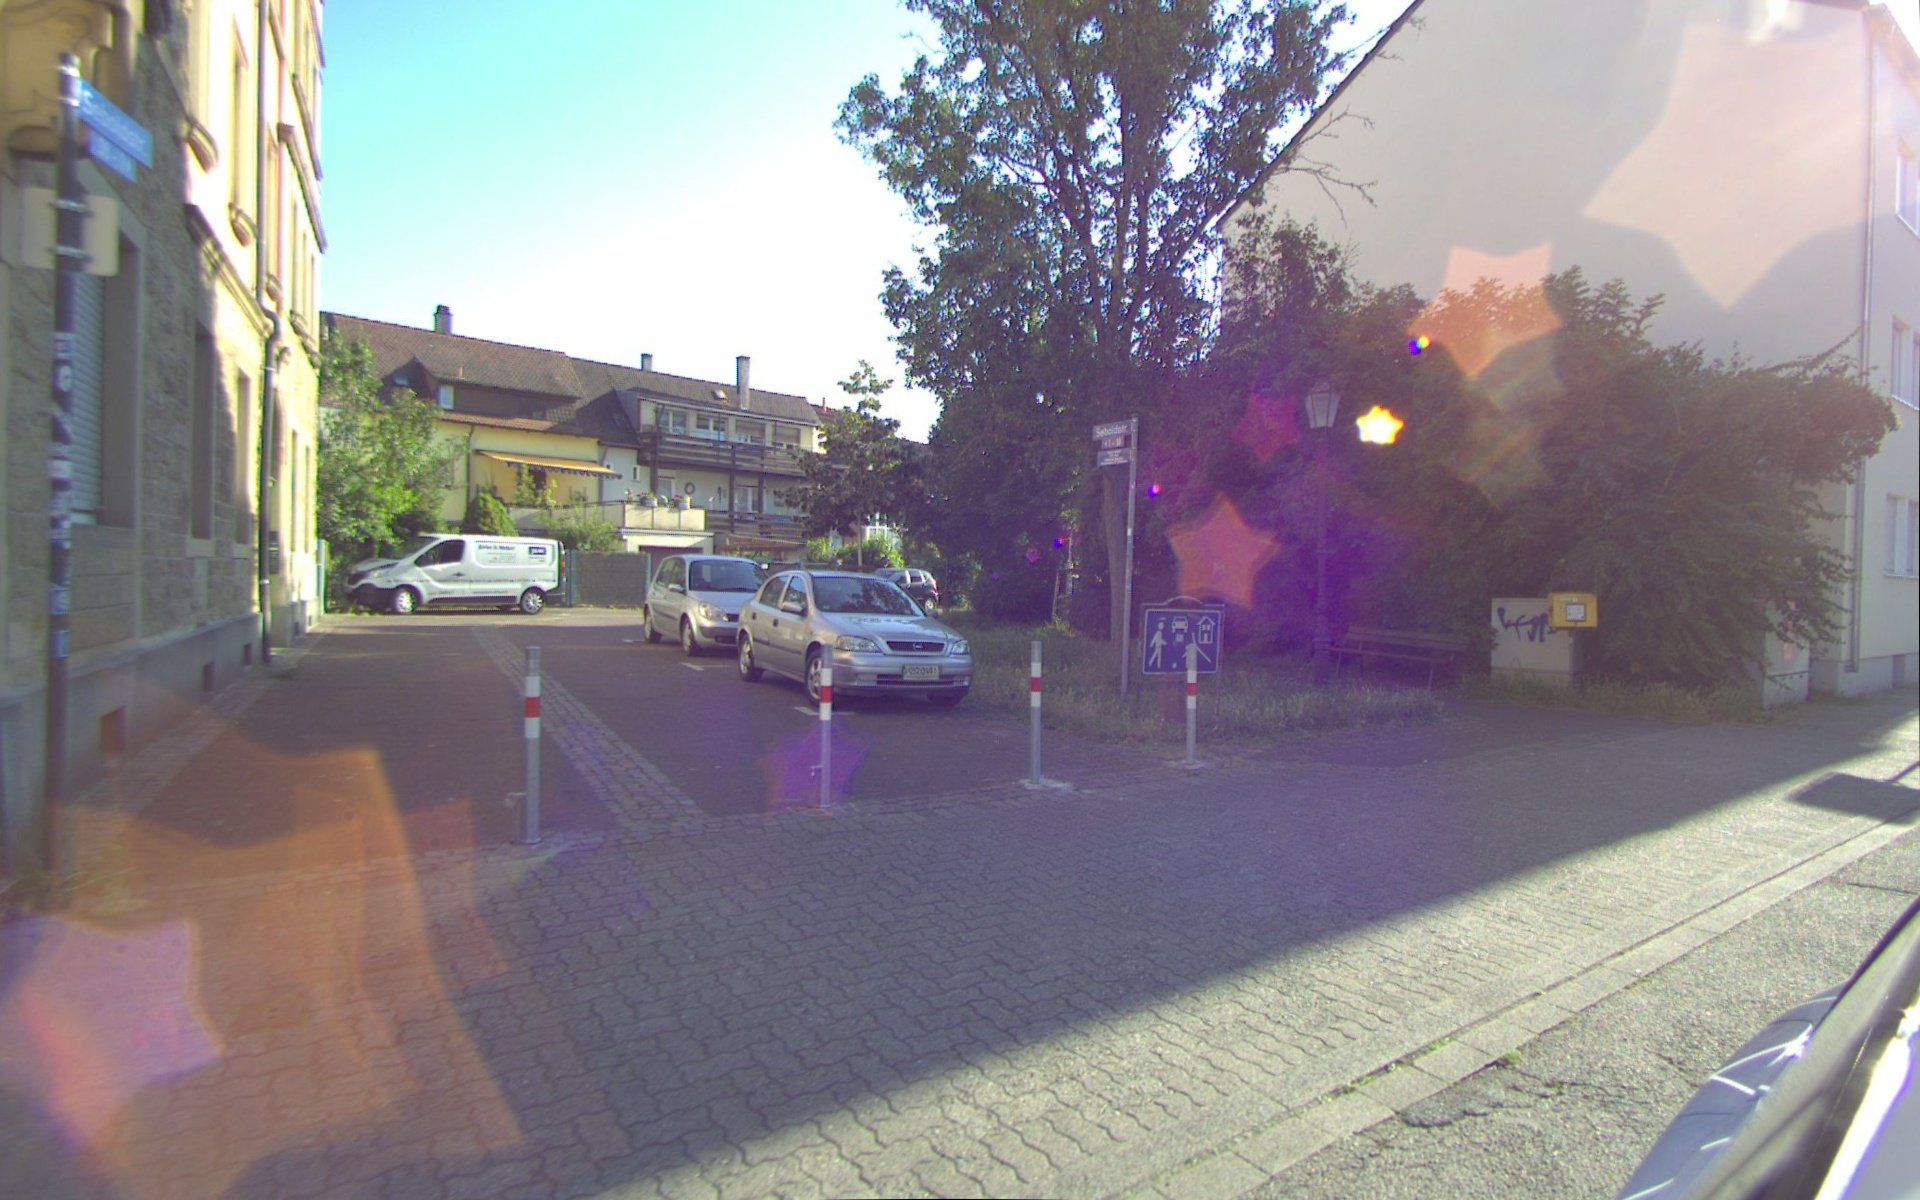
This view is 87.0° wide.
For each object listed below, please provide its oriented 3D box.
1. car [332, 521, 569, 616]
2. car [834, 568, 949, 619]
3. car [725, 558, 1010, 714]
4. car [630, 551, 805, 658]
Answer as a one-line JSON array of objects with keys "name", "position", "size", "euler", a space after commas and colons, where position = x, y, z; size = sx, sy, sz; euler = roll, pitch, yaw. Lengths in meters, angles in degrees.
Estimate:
[{"name": "car", "position": [-12.536, -0.683, 25.142], "size": [1.991, 2.053, 4.895], "euler": [-4, -3, 41]}, {"name": "car", "position": [-2.397, -0.256, 35.715], "size": [3.684, 1.610, 1.723], "euler": [-2, -1, -40]}, {"name": "car", "position": [-1.266, 0.284, 11.804], "size": [1.863, 1.437, 3.974], "euler": [1, 2, -29]}, {"name": "car", "position": [-4.228, 0.032, 17.171], "size": [1.679, 1.576, 4.036], "euler": [2, 0, -31]}]
